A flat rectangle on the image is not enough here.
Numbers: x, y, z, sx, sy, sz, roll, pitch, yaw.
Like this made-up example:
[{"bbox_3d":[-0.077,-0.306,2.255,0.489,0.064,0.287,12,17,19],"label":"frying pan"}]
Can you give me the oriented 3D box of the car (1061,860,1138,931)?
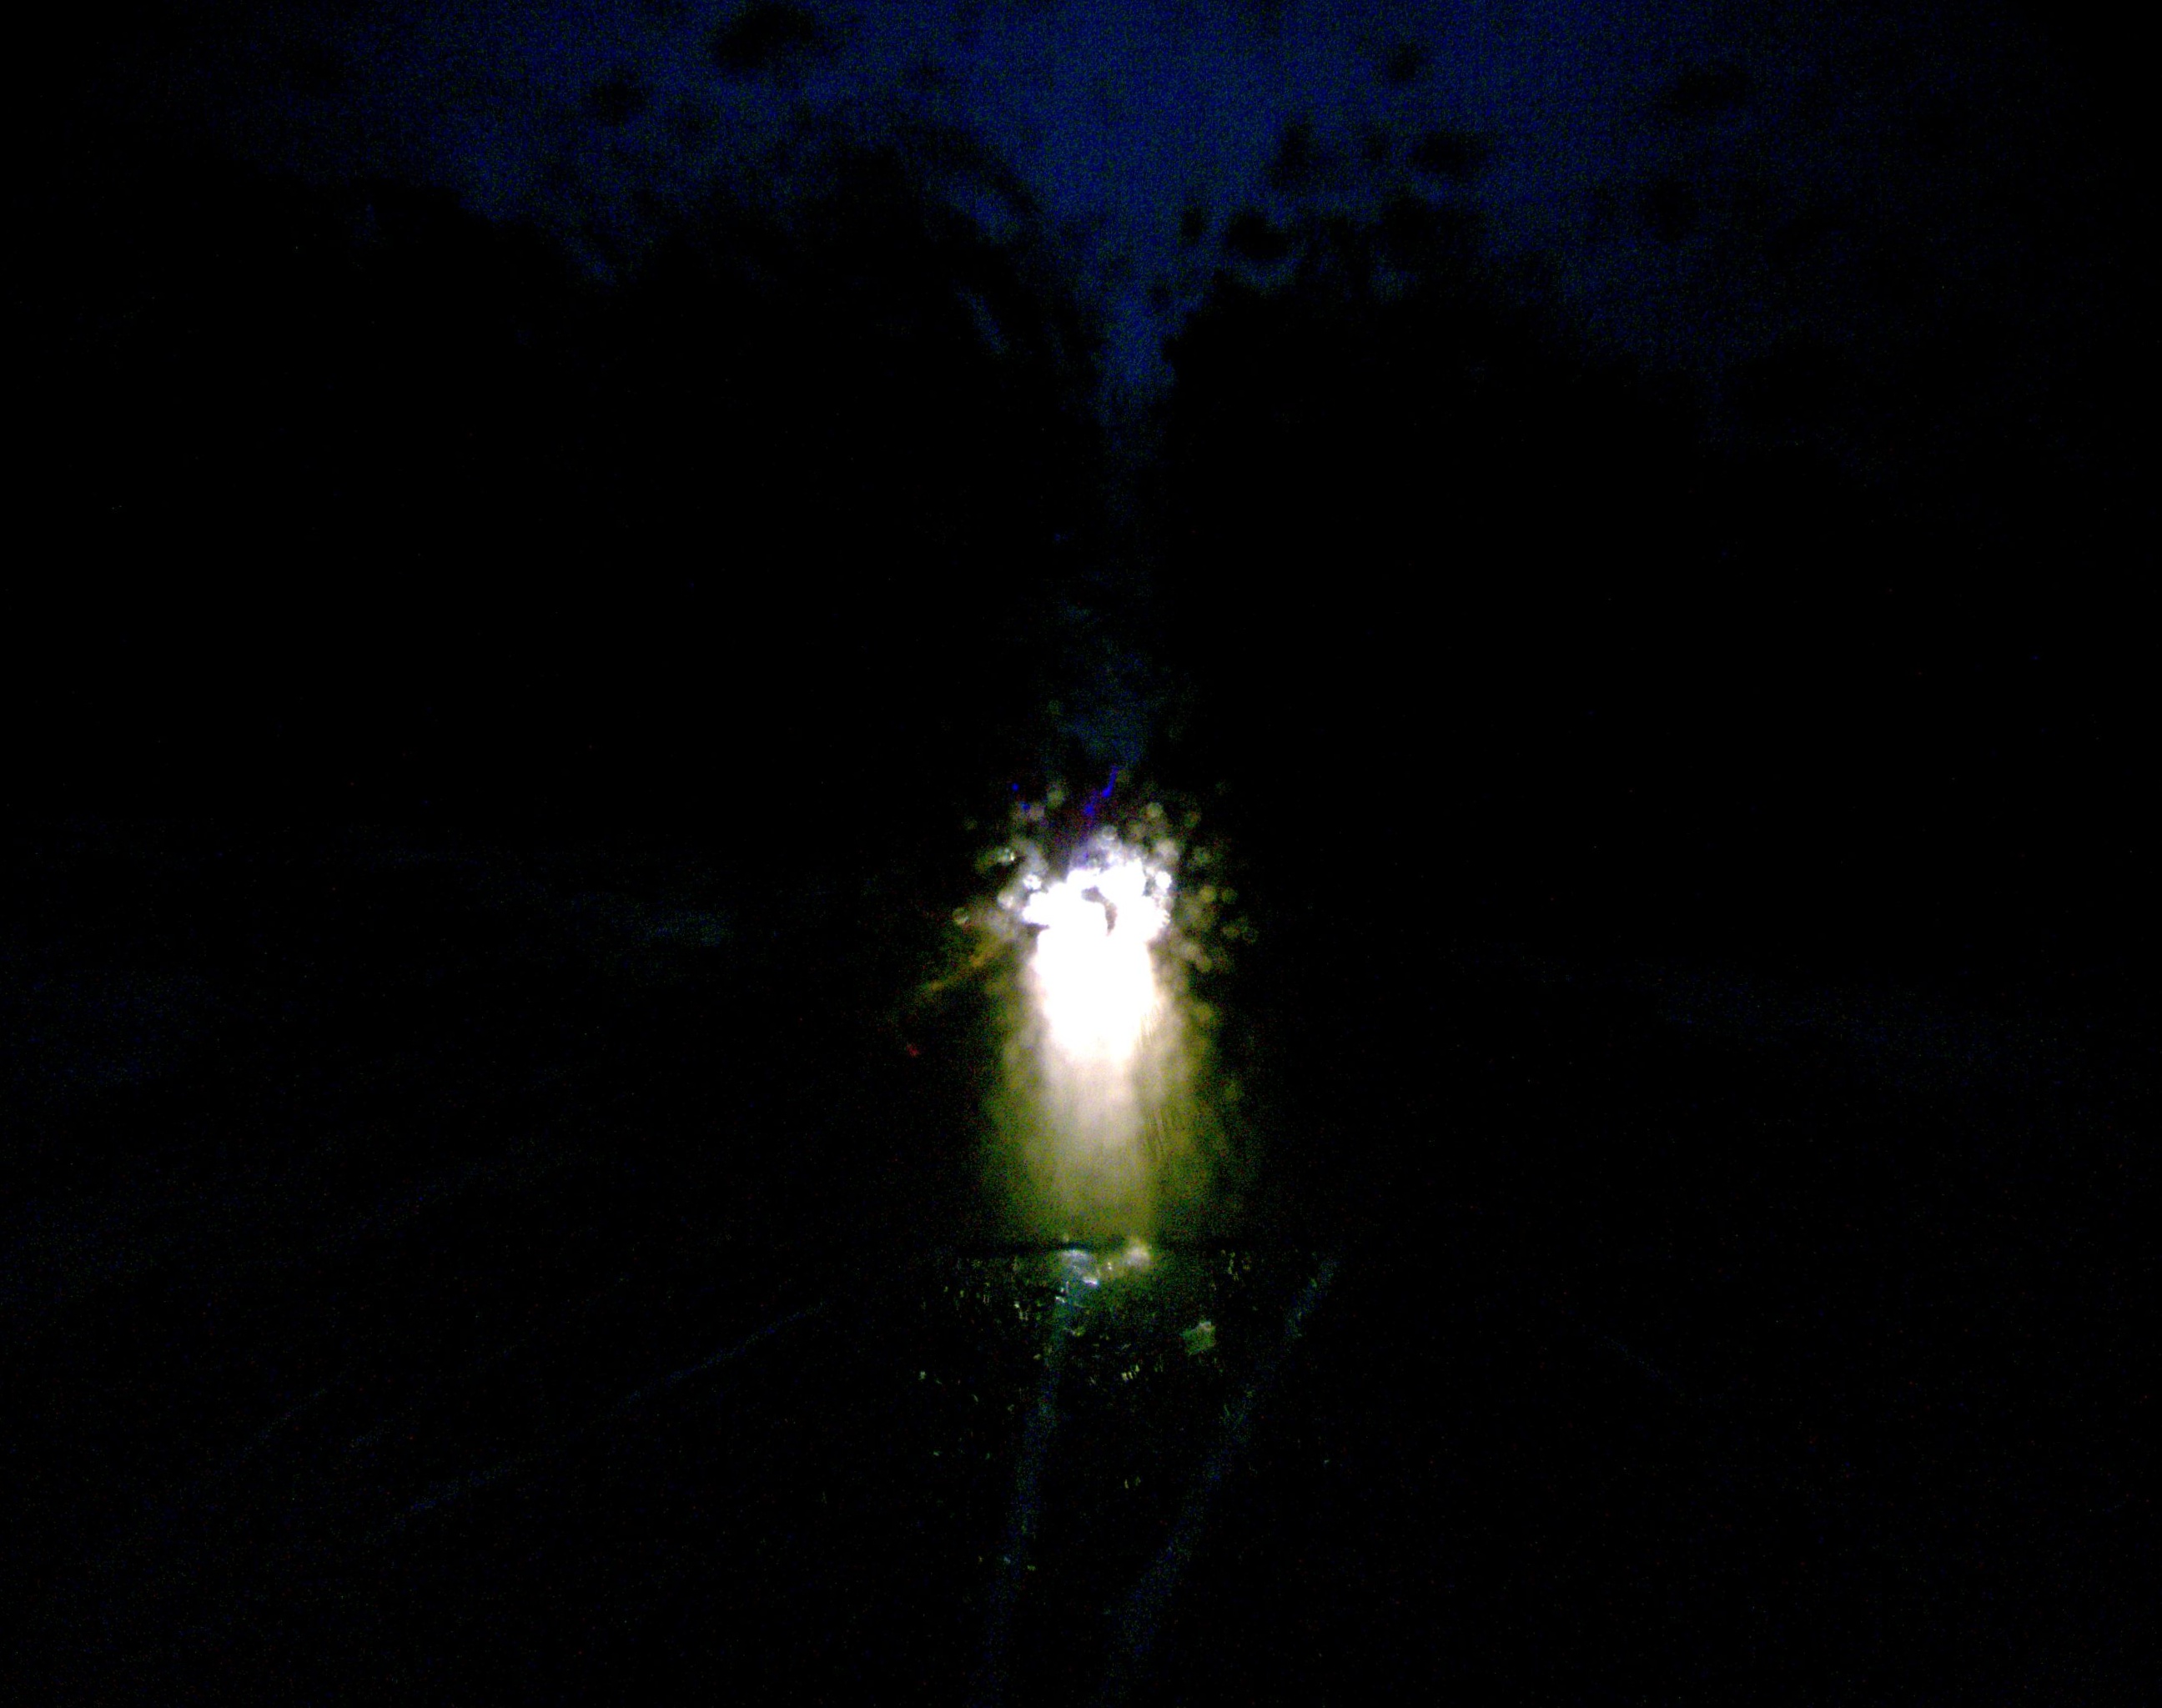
[{"bbox_3d":[0.529,0.928,18.591,1.649,1.446,3.681,-2,0,4],"label":"car"}]
